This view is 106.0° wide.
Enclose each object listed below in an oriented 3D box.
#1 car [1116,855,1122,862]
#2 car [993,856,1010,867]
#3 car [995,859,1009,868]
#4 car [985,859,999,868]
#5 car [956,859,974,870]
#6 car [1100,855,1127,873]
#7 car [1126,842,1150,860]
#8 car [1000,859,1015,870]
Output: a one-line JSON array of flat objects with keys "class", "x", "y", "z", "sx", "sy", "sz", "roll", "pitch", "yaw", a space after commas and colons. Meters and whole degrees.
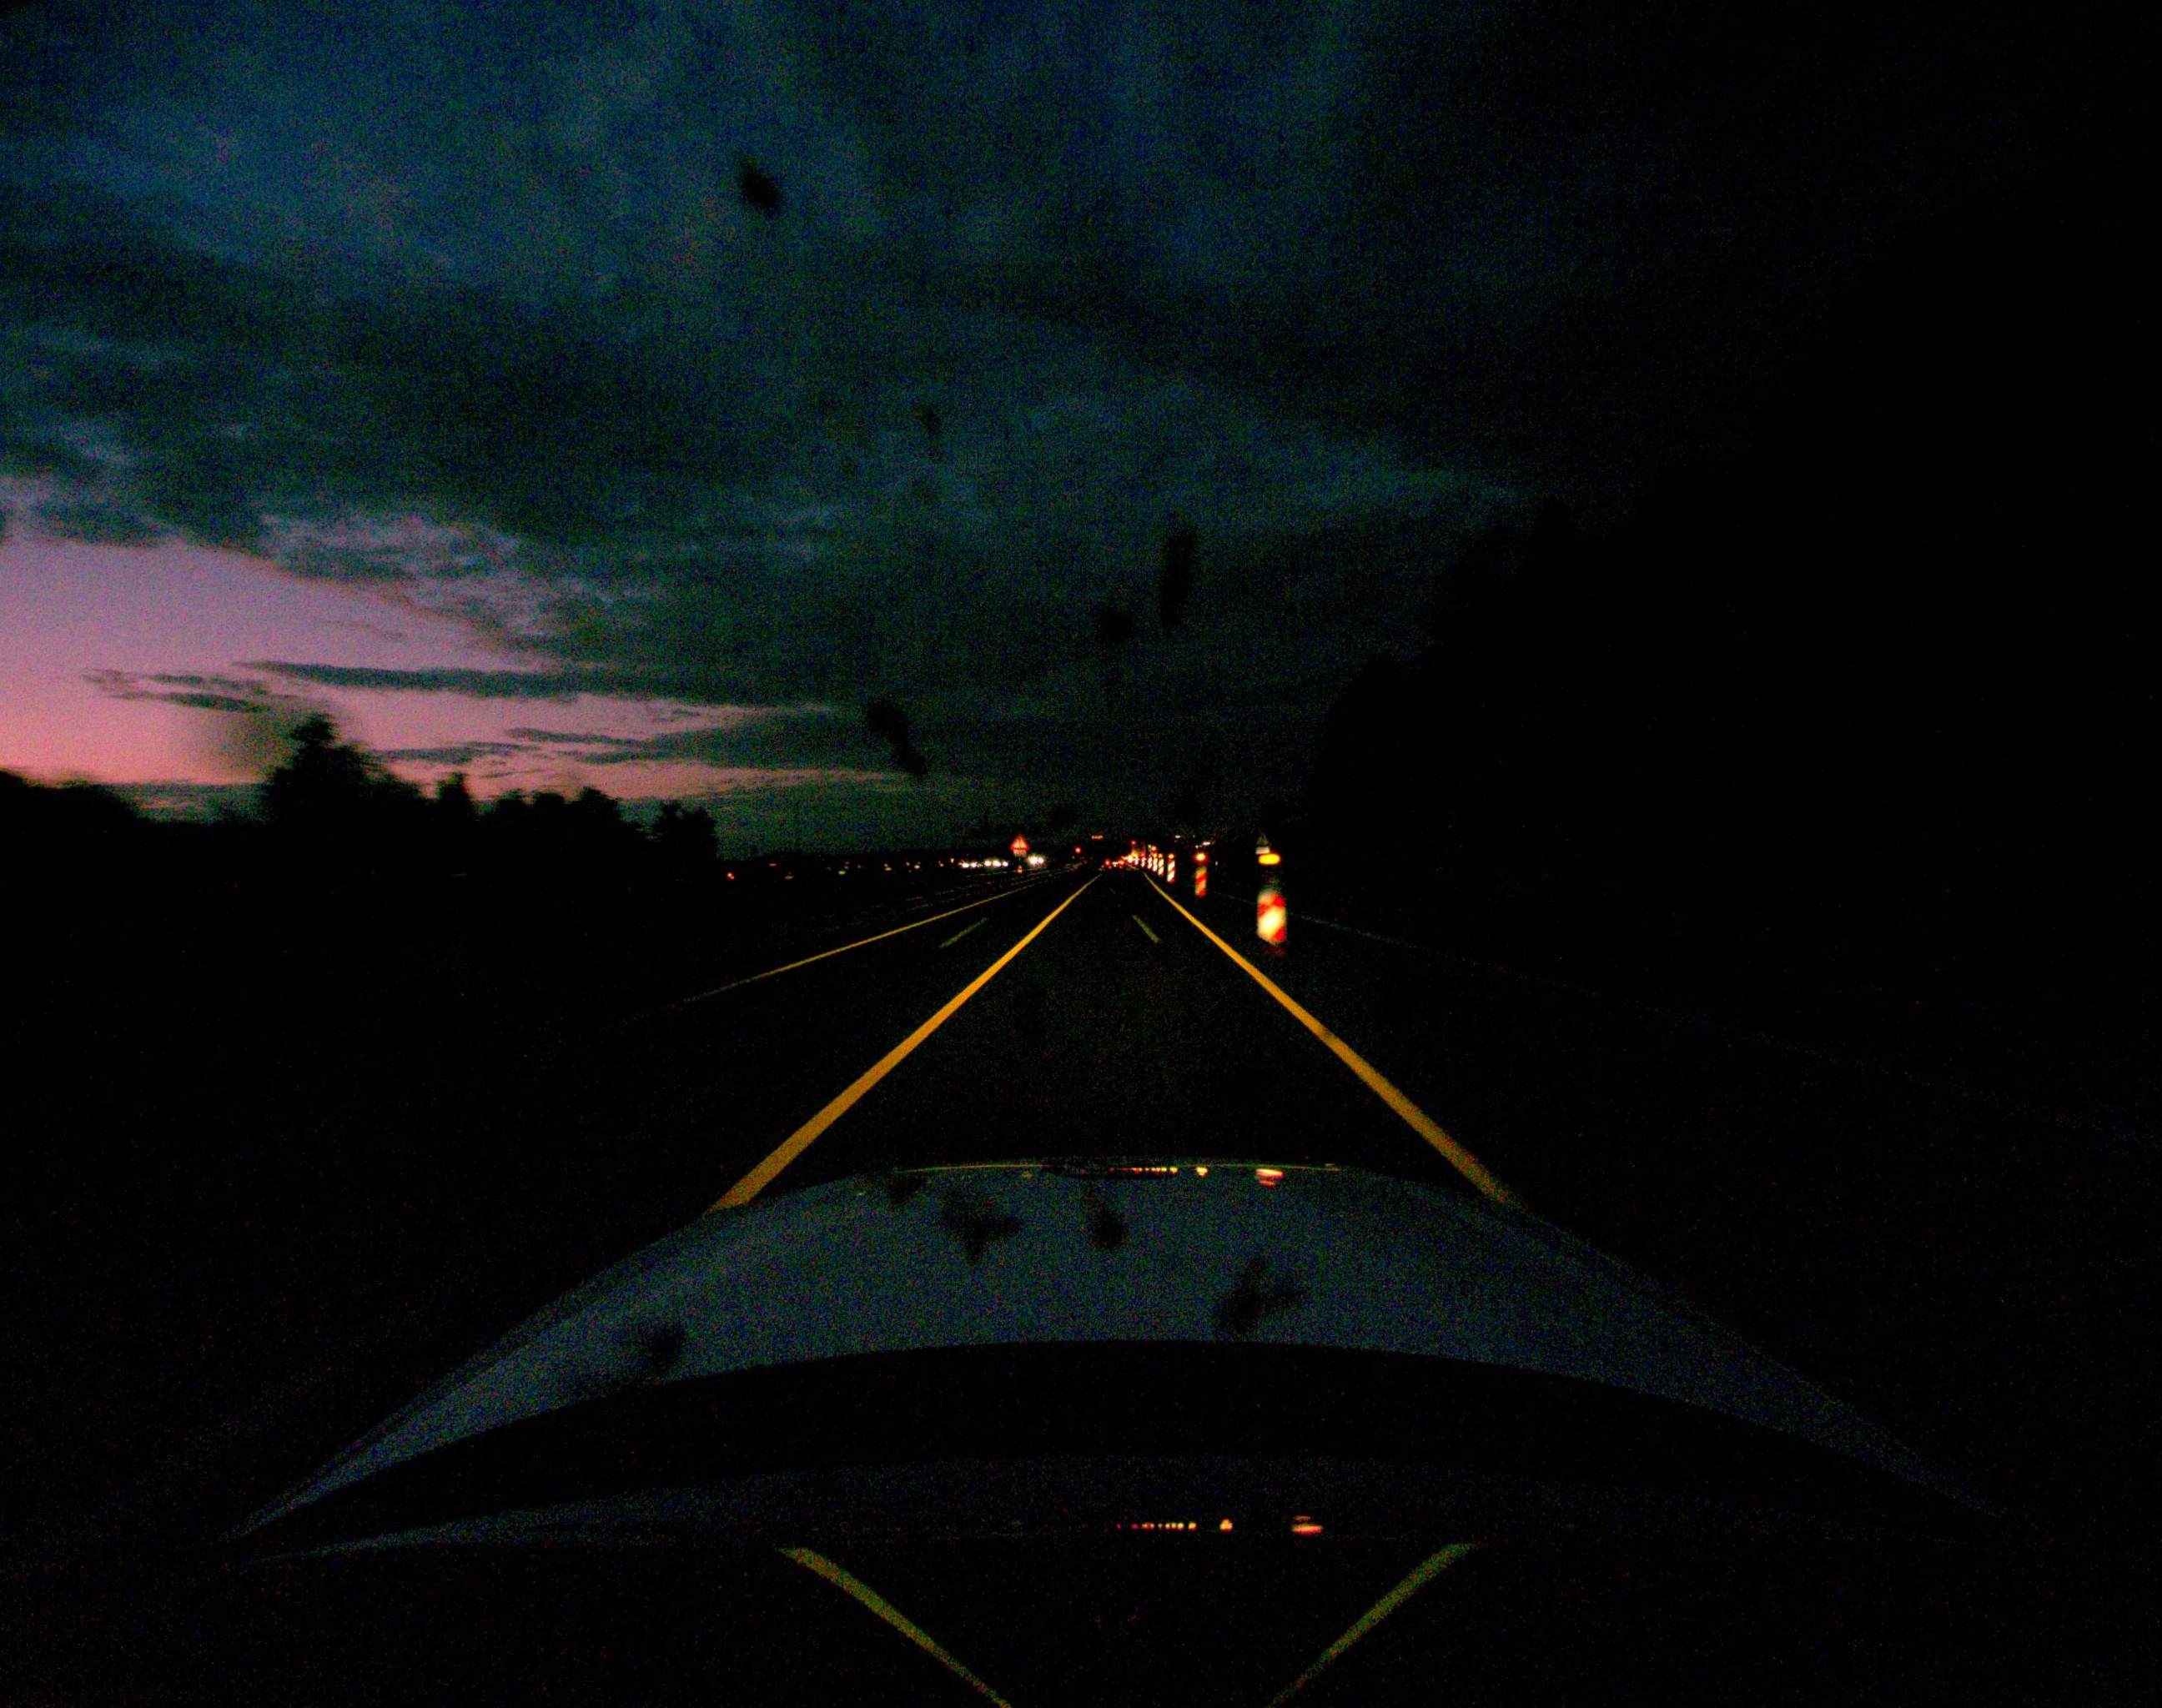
[{"class": "car", "x": 11.798, "y": 1.447, "z": 253.786, "sx": 1.986, "sy": 2.014, "sz": 4.002, "roll": 0, "pitch": 0, "yaw": 2}, {"class": "car", "x": -12.225, "y": 1.170, "z": 125.716, "sx": 1.986, "sy": 1.714, "sz": 4.002, "roll": 0, "pitch": 0, "yaw": 2}, {"class": "car", "x": -13.281, "y": 1.638, "z": 137.538, "sx": 1.756, "sy": 1.464, "sz": 4.692, "roll": 0, "pitch": 0, "yaw": 2}, {"class": "car", "x": -16.019, "y": 1.638, "z": 146.869, "sx": 1.756, "sy": 1.548, "sz": 4.427, "roll": 0, "pitch": 0, "yaw": 2}, {"class": "car", "x": -16.959, "y": 1.513, "z": 119.087, "sx": 1.986, "sy": 1.464, "sz": 4.136, "roll": 0, "pitch": 0, "yaw": 2}, {"class": "car", "x": 3.021, "y": 0.948, "z": 77.198, "sx": 2.260, "sy": 1.621, "sz": 3.996, "roll": 0, "pitch": 0, "yaw": -2}, {"class": "car", "x": 11.105, "y": -0.506, "z": 160.480, "sx": 3.599, "sy": 3.395, "sz": 8.001, "roll": 0, "pitch": 0, "yaw": -4}, {"class": "car", "x": -11.970, "y": 1.663, "z": 132.753, "sx": 1.986, "sy": 1.828, "sz": 4.002, "roll": 0, "pitch": 0, "yaw": 2}]
